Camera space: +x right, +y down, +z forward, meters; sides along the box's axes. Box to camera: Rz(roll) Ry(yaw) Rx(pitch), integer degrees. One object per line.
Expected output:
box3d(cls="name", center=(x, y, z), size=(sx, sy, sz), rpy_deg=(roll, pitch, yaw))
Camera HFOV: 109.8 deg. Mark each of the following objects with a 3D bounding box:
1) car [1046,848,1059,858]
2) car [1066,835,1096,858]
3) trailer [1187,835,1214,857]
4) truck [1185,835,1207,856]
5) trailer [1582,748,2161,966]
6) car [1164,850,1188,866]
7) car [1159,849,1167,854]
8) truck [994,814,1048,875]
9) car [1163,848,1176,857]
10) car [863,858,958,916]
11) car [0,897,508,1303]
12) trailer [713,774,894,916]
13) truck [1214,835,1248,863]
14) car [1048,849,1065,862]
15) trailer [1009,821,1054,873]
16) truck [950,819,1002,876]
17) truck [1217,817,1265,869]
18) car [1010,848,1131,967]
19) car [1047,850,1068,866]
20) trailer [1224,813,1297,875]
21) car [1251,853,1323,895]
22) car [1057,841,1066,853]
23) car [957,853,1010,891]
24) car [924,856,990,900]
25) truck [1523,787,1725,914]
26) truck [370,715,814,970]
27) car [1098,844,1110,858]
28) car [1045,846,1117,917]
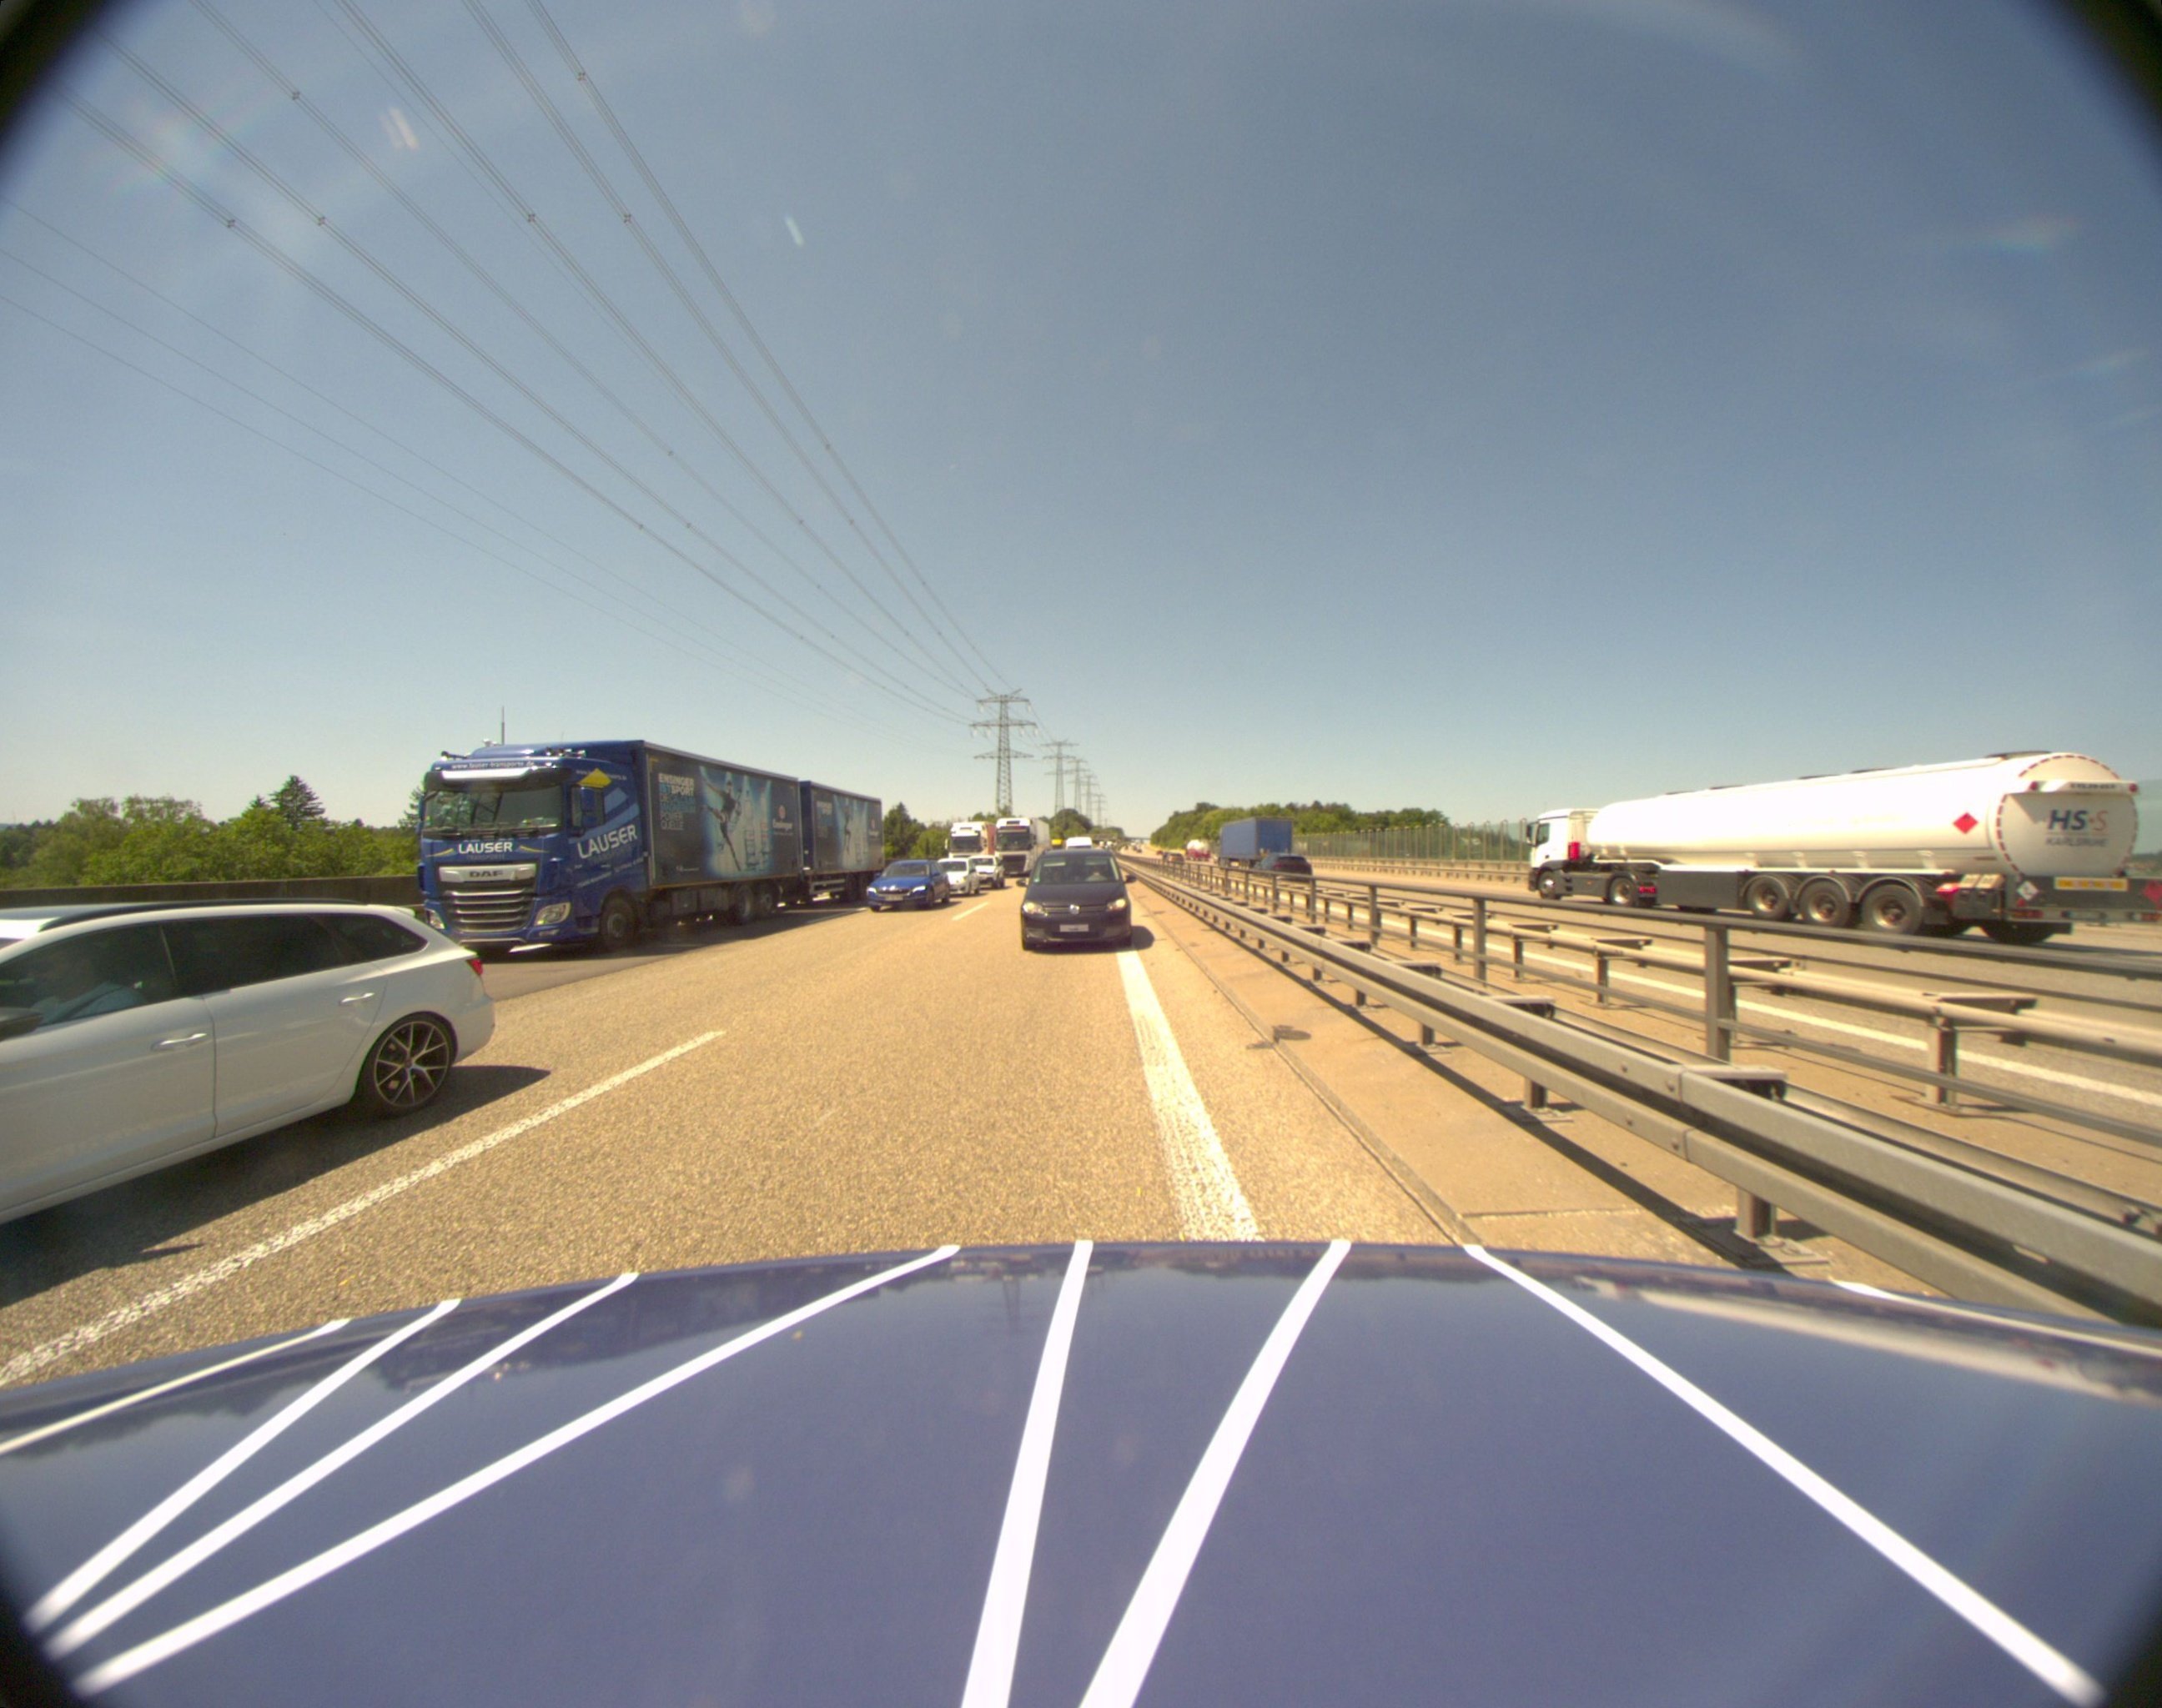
box3d(cls="car", center=(-4.761, -0.228, 127.522), size=(1.924, 1.501, 3.996), rpy_deg=(-2, 1, 2))
box3d(cls="car", center=(0.052, -0.553, 53.570), size=(1.924, 1.501, 3.996), rpy_deg=(-2, 1, 2))
box3d(cls="trailer", center=(19.623, -1.379, 125.149), size=(2.883, 3.360, 12.006), rpy_deg=(1, 1, 2))
box3d(cls="truck", center=(19.807, -1.493, 131.167), size=(2.915, 3.395, 6.294), rpy_deg=(1, 1, 2))
box3d(cls="trailer", center=(16.472, -0.036, 17.750), size=(2.505, 3.520, 10.902), rpy_deg=(0, 1, 1))
box3d(cls="car", center=(9.982, 0.411, 79.984), size=(1.886, 1.543, 4.189), rpy_deg=(-2, 1, 0))
box3d(cls="car", center=(23.919, -0.625, 221.621), size=(1.786, 1.412, 4.000), rpy_deg=(2, 1, 1))
box3d(cls="truck", center=(-4.008, -0.670, 52.752), size=(2.849, 3.804, 8.263), rpy_deg=(-2, 1, 1))
box3d(cls="car", center=(14.985, -0.195, 129.384), size=(1.802, 1.490, 3.851), rpy_deg=(0, 1, 1))
box3d(cls="car", center=(-5.124, 0.937, 23.433), size=(1.712, 1.443, 4.563), rpy_deg=(-2, 1, 2))
box3d(cls="car", center=(-5.116, 1.073, 3.369), size=(1.713, 1.443, 4.429), rpy_deg=(-2, 0, 1))
box3d(cls="trailer", center=(-9.259, -0.331, 26.768), size=(2.835, 4.066, 8.637), rpy_deg=(-2, 1, 2))
box3d(cls="truck", center=(18.437, -0.630, 93.720), size=(2.569, 3.170, 8.293), rpy_deg=(2, 1, 1))
box3d(cls="car", center=(-3.187, 0.198, 100.432), size=(1.924, 1.501, 3.996), rpy_deg=(-2, 1, 2))
box3d(cls="trailer", center=(-3.887, -0.592, 61.419), size=(2.822, 3.830, 9.084), rpy_deg=(-2, 1, 1))
box3d(cls="truck", center=(-7.872, -0.534, 58.124), size=(2.608, 3.965, 8.263), rpy_deg=(-2, 1, 1))
box3d(cls="truck", center=(13.247, -0.926, 63.521), size=(2.760, 4.093, 6.264), rpy_deg=(0, 1, 1))
box3d(cls="car", center=(-0.116, 0.772, 13.127), size=(1.712, 1.669, 3.931), rpy_deg=(-2, 1, 1))
box3d(cls="car", center=(-2.516, 0.413, 82.477), size=(1.924, 1.501, 3.996), rpy_deg=(-2, 1, 2))
box3d(cls="trailer", center=(13.189, -0.792, 57.051), size=(2.711, 4.141, 12.048), rpy_deg=(0, 1, 0))
box3d(cls="car", center=(8.722, 0.795, 32.522), size=(1.886, 1.543, 4.189), rpy_deg=(-2, 1, 0))
box3d(cls="car", center=(-4.231, -1.475, 164.677), size=(1.704, 2.525, 4.000), rpy_deg=(2, 1, 1))
box3d(cls="car", center=(-4.365, 0.791, 34.740), size=(1.712, 1.501, 4.144), rpy_deg=(-2, 1, 2))
box3d(cls="car", center=(-4.781, 0.885, 29.834), size=(1.712, 1.443, 4.144), rpy_deg=(-2, 1, 2))
box3d(cls="truck", center=(16.629, -0.148, 23.769), size=(2.526, 3.515, 5.329), rpy_deg=(0, 1, 2))
box3d(cls="truck", center=(-9.556, -0.253, 17.204), size=(2.859, 3.927, 10.393), rpy_deg=(-2, 1, 2))
box3d(cls="car", center=(3.681, -0.471, 122.037), size=(1.704, 2.116, 4.000), rpy_deg=(-2, 1, 2))
box3d(cls="car", center=(0.043, 0.665, 20.699), size=(1.712, 1.669, 3.931), rpy_deg=(-2, 1, 1))
